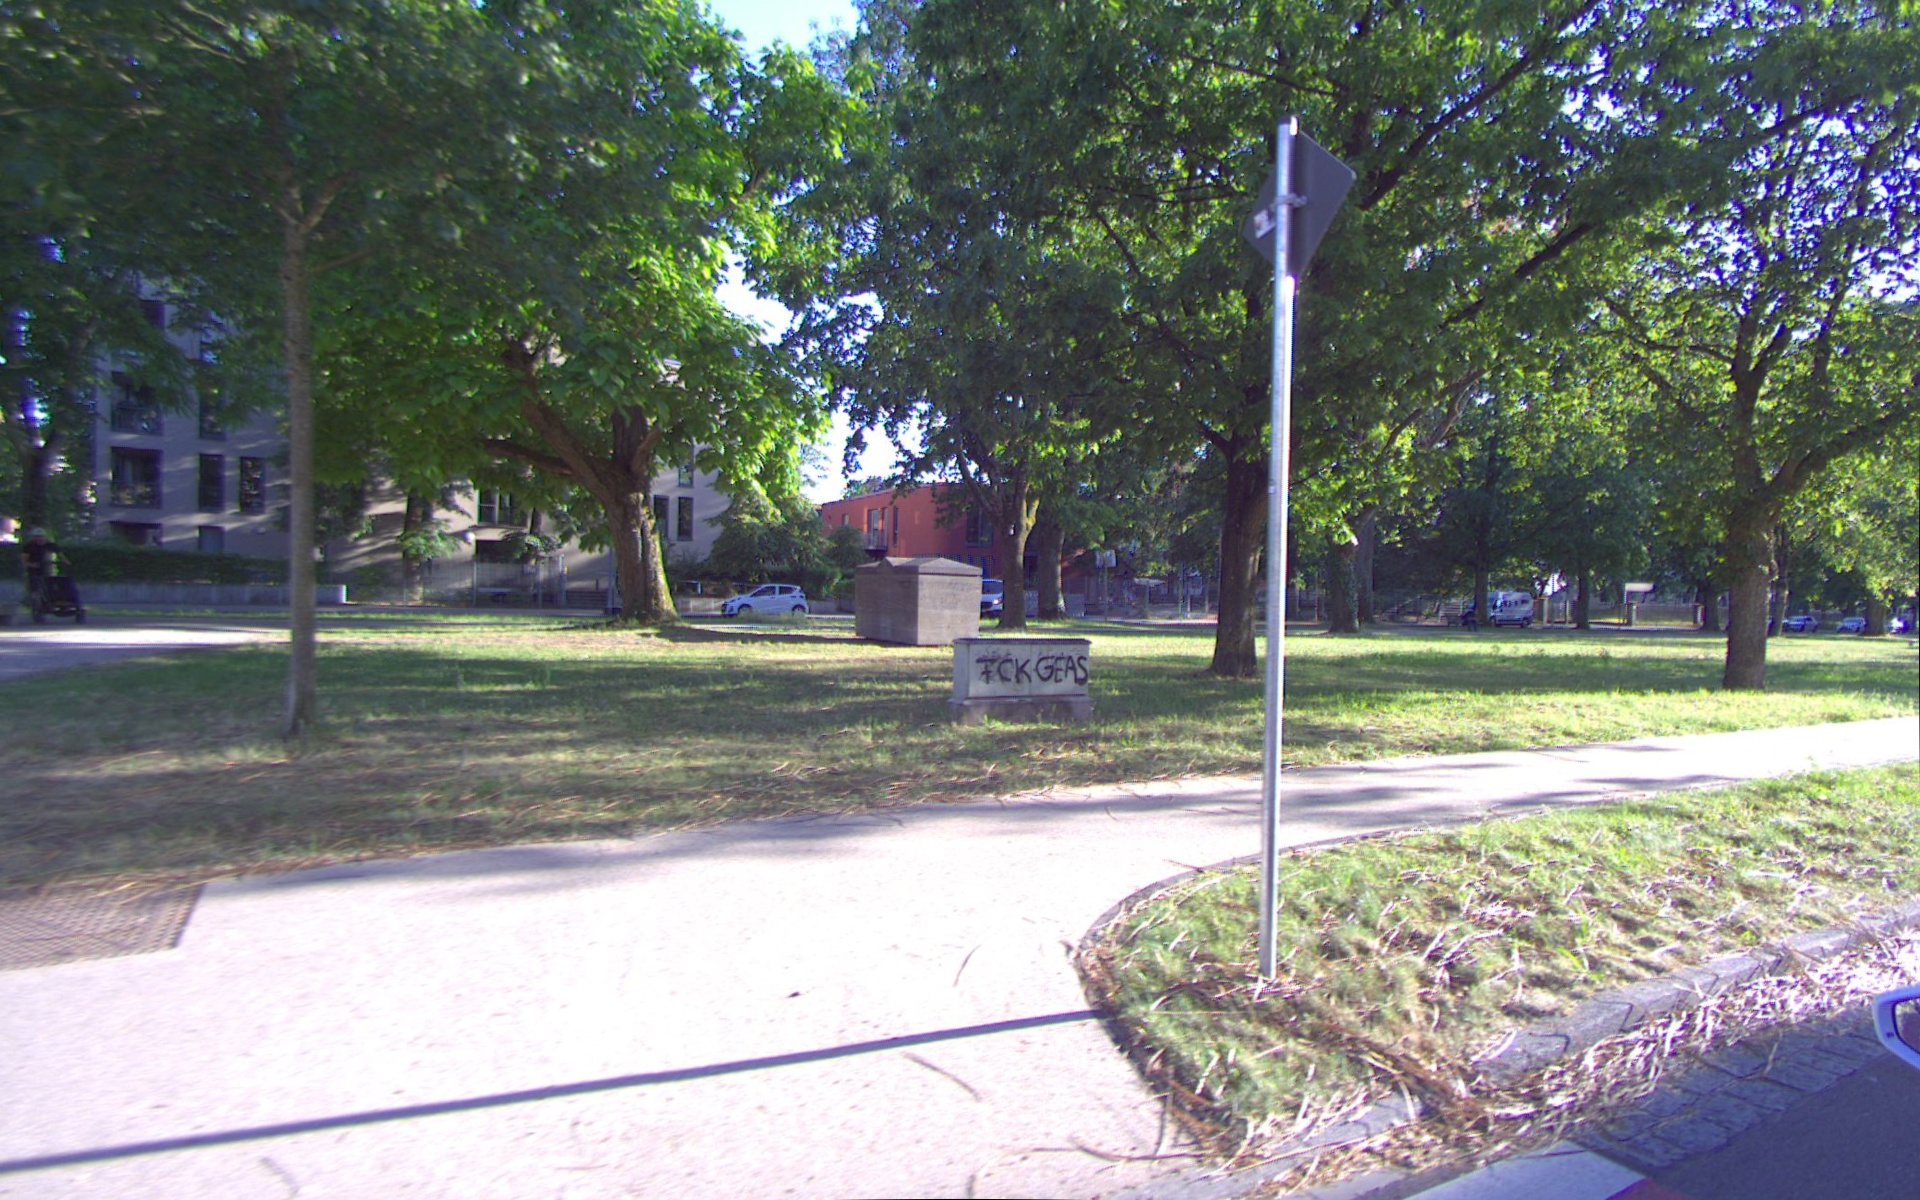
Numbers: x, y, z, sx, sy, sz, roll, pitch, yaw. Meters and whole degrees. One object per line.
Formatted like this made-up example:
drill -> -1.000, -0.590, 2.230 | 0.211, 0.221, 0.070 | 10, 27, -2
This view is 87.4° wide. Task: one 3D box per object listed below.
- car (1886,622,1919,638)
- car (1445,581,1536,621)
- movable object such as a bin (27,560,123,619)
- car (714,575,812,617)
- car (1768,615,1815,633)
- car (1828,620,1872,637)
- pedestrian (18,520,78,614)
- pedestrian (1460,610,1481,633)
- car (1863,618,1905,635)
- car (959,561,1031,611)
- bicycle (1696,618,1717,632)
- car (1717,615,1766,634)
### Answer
car -> 100.266, 3.220, 106.403 | 4.065, 1.528, 1.985 | 2, 0, -29
car -> 36.787, 0.089, 69.600 | 6.247, 2.496, 2.706 | 2, 0, -31
movable object such as a bin -> -16.135, -0.189, 18.312 | 1.310, 1.002, 0.948 | 2, 0, 31
car -> -8.473, -0.170, 43.141 | 3.693, 1.639, 1.984 | 2, 1, -30
car -> 77.077, 2.265, 93.104 | 4.065, 1.528, 1.985 | 2, 0, -29
car -> 87.610, 2.812, 98.853 | 4.065, 1.528, 1.985 | 2, 0, -29
pedestrian -> -17.019, -0.615, 18.753 | 0.652, 1.718, 0.670 | 3, 2, 32
pedestrian -> 22.872, 0.944, 45.029 | 0.601, 1.000, 0.547 | 2, 0, -19
car -> 95.068, 2.743, 103.380 | 4.065, 1.528, 1.985 | 2, 0, -29
car -> 1.734, -0.657, 47.206 | 2.624, 2.142, 4.972 | 2, 1, 10
bicycle -> 65.980, 2.206, 88.767 | 2.308, 1.191, 0.653 | 2, 0, -33
car -> 68.331, 2.125, 87.801 | 3.952, 1.528, 1.985 | 2, 0, -29
